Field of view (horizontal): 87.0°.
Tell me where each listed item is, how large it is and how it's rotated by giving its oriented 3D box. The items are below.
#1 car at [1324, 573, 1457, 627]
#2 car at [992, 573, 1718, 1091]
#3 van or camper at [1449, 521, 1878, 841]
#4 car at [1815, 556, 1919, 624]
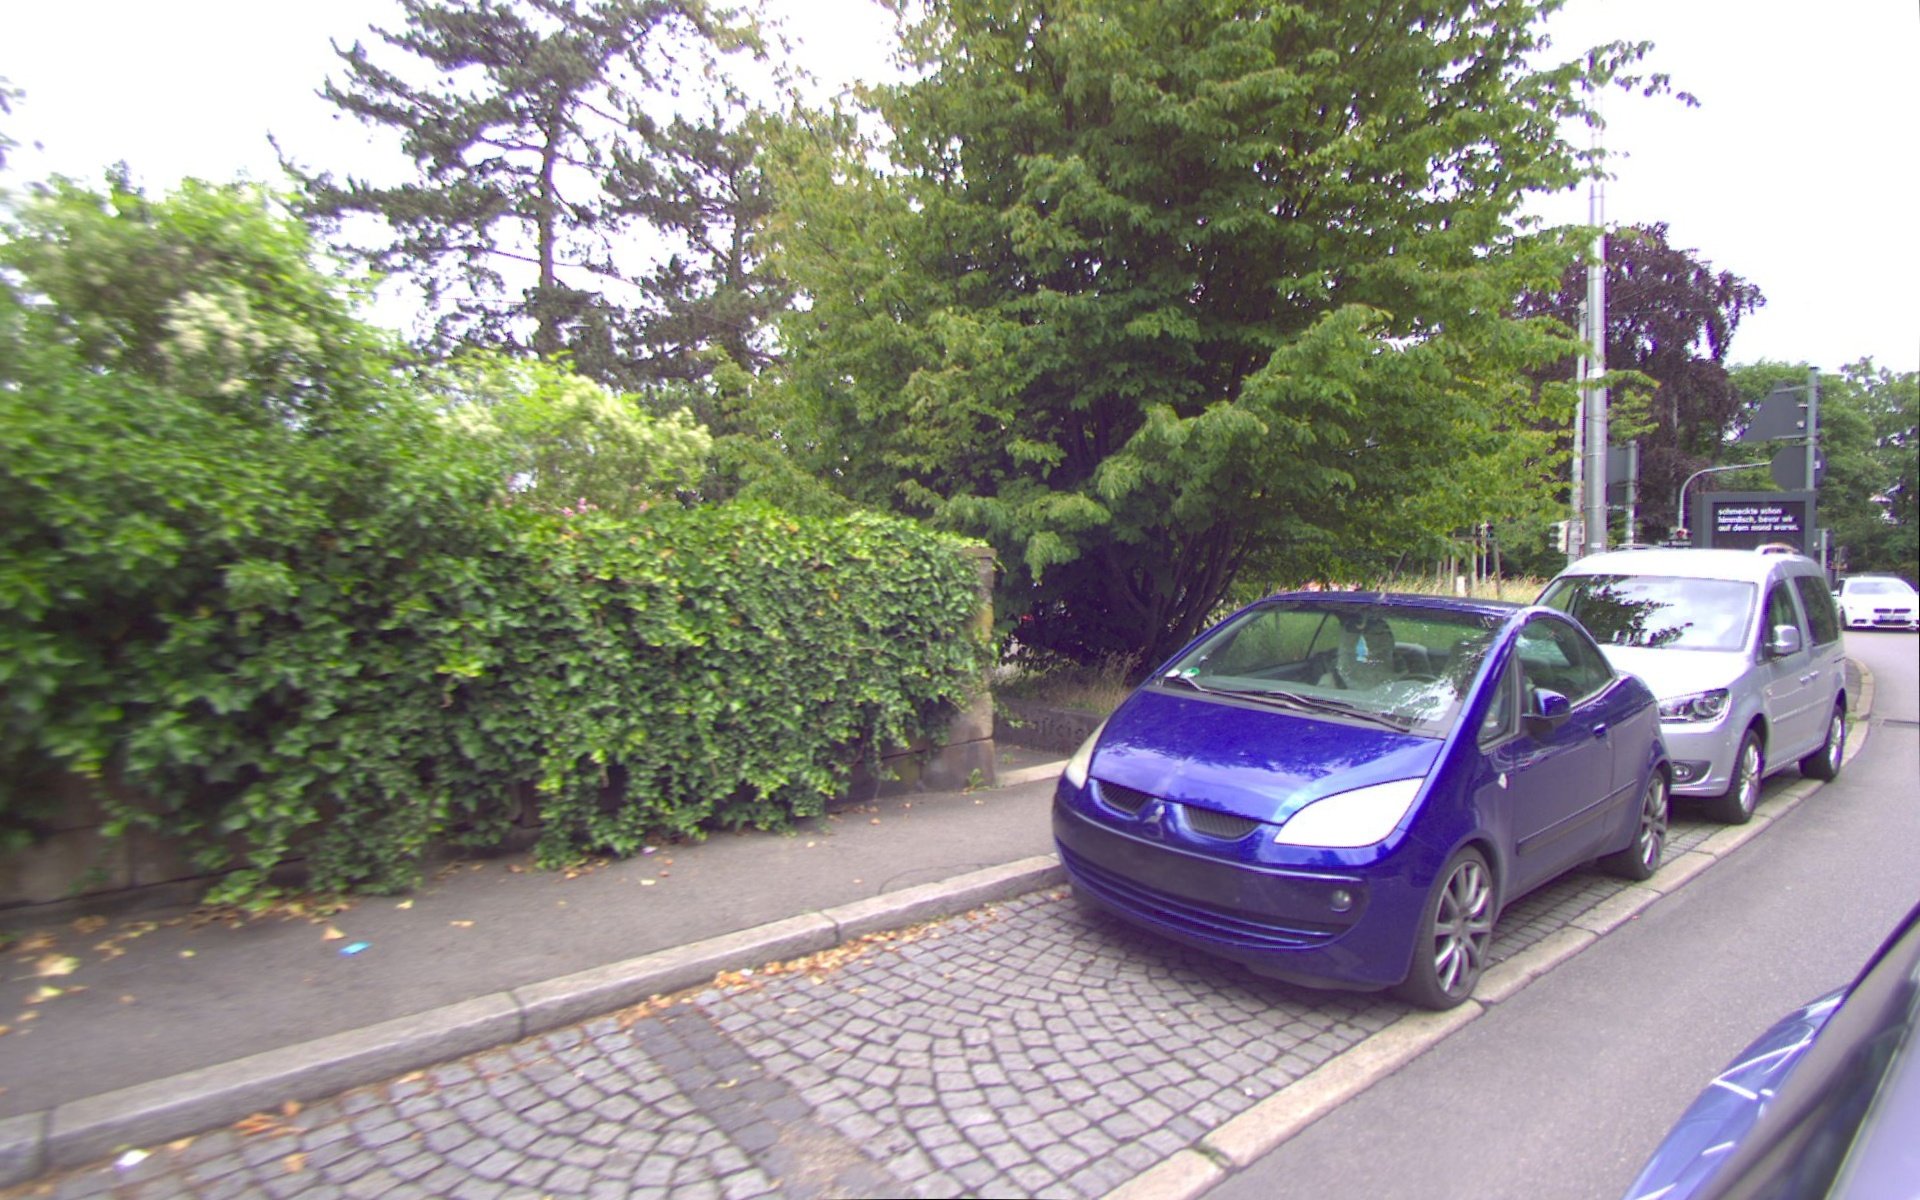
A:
[{"bbox_3d":[14.000,-0.029,33.042,3.627,1.522,1.654,-2,4,-2],"label":"car"},{"bbox_3d":[2.120,0.644,4.837,3.873,1.477,1.601,-1,3,-41],"label":"car"},{"bbox_3d":[5.628,0.420,7.889,4.167,1.868,1.702,-1,2,-40],"label":"van or camper"},{"bbox_3d":[26.198,-0.332,28.720,1.805,1.488,4.747,-2,4,26],"label":"car"}]
